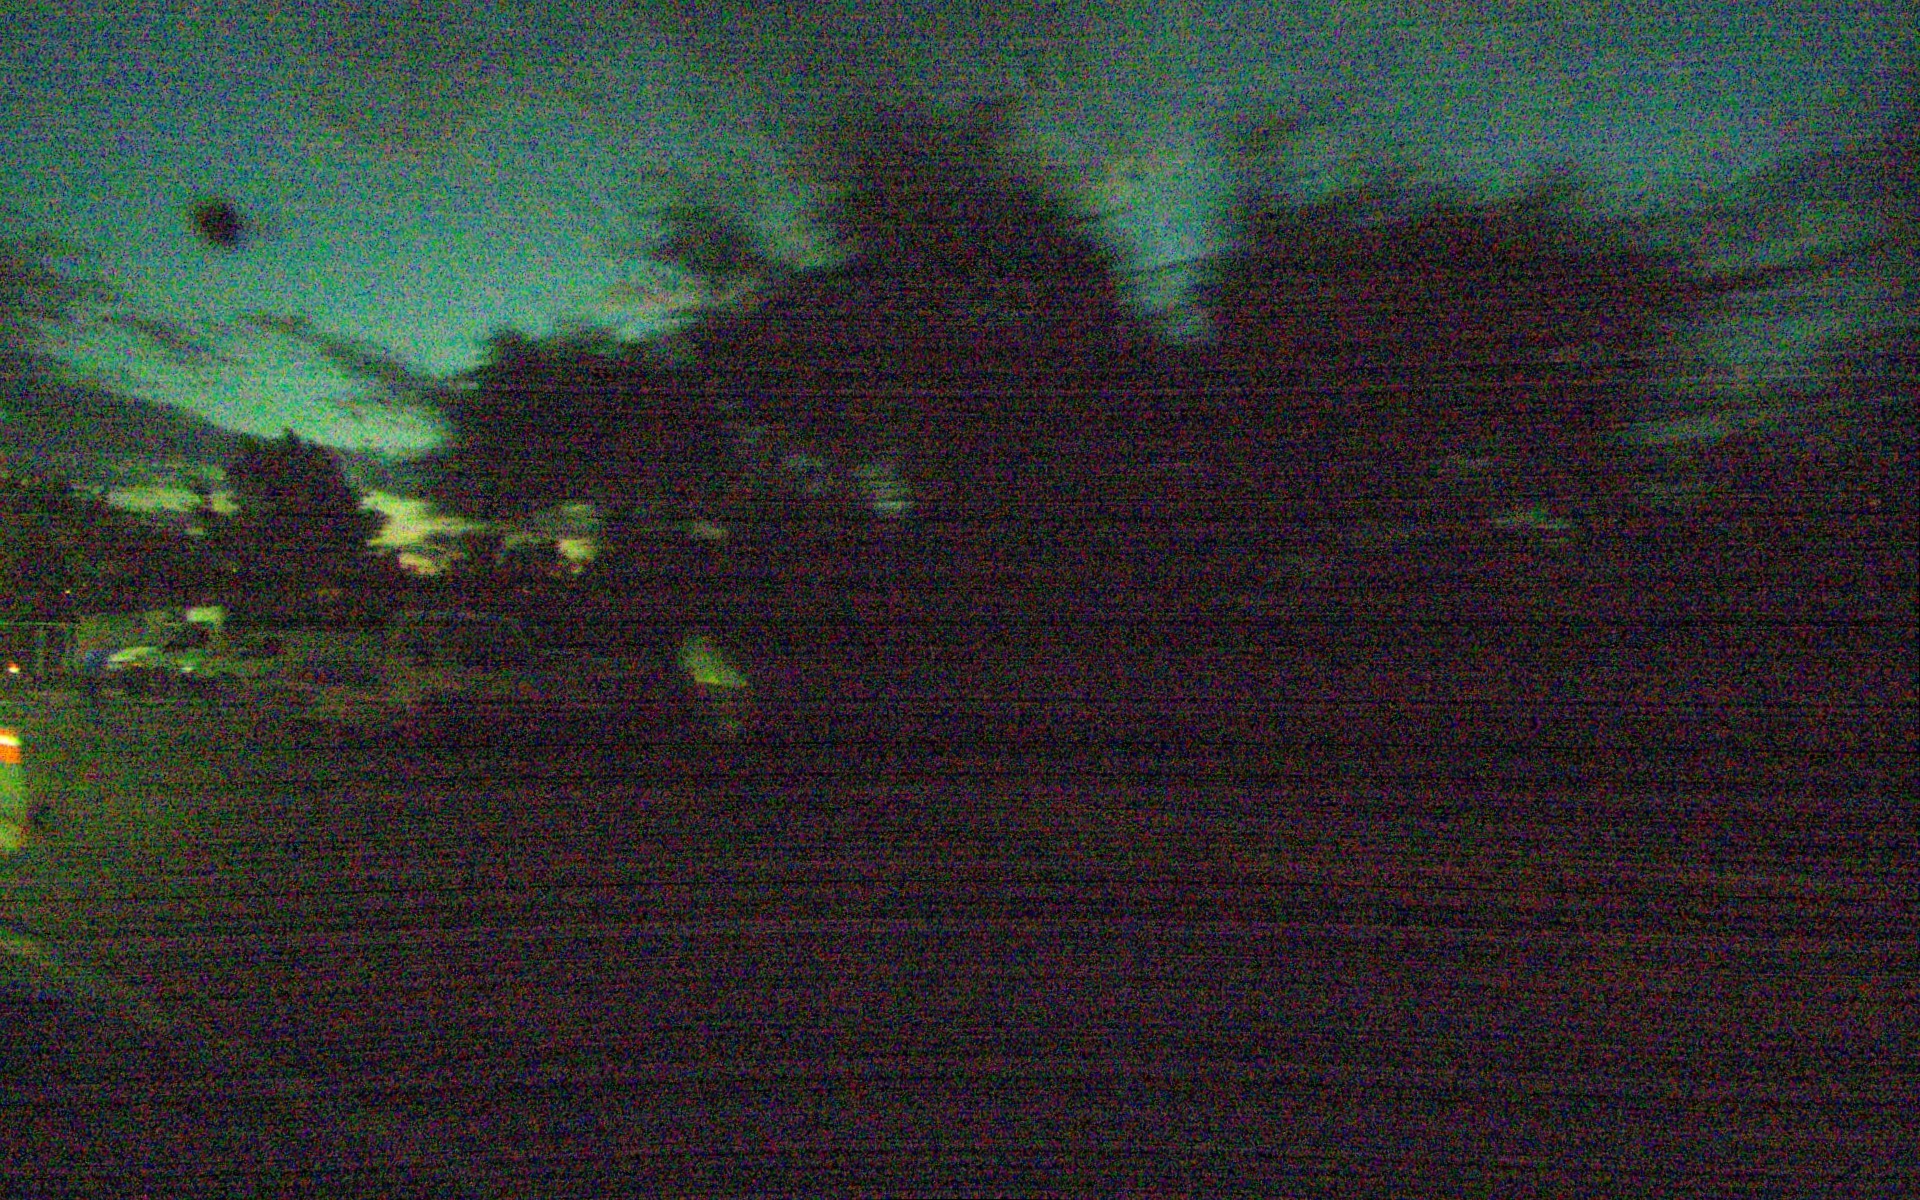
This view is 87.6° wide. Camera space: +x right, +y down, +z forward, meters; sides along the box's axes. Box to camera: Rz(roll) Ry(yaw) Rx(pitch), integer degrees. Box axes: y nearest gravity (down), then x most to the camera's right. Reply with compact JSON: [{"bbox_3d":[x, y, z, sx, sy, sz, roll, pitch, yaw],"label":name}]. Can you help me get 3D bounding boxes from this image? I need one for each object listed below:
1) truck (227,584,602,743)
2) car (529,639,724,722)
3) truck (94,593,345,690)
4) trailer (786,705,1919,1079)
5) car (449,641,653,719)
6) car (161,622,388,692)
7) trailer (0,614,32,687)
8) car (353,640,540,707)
[{"bbox_3d":[-9.812,1.035,17.657,7.633,2.312,2.374,-1,-3,32],"label":"truck"},{"bbox_3d":[-7.134,1.706,21.786,1.684,1.624,3.852,-1,-3,31],"label":"car"},{"bbox_3d":[-22.080,1.285,30.160,2.437,2.632,5.523,0,-3,32],"label":"truck"},{"bbox_3d":[3.352,1.262,4.809,9.485,0.978,2.170,0,-5,35],"label":"trailer"},{"bbox_3d":[-9.110,1.761,22.560,1.876,1.580,3.848,-1,-3,34],"label":"car"},{"bbox_3d":[-19.757,1.648,29.113,1.963,1.859,5.061,-1,-3,36],"label":"car"},{"bbox_3d":[-28.742,1.402,28.083,3.709,2.040,1.605,1,-1,-33],"label":"trailer"},{"bbox_3d":[-12.772,1.814,25.129,1.684,1.534,3.852,-1,-3,31],"label":"car"}]
